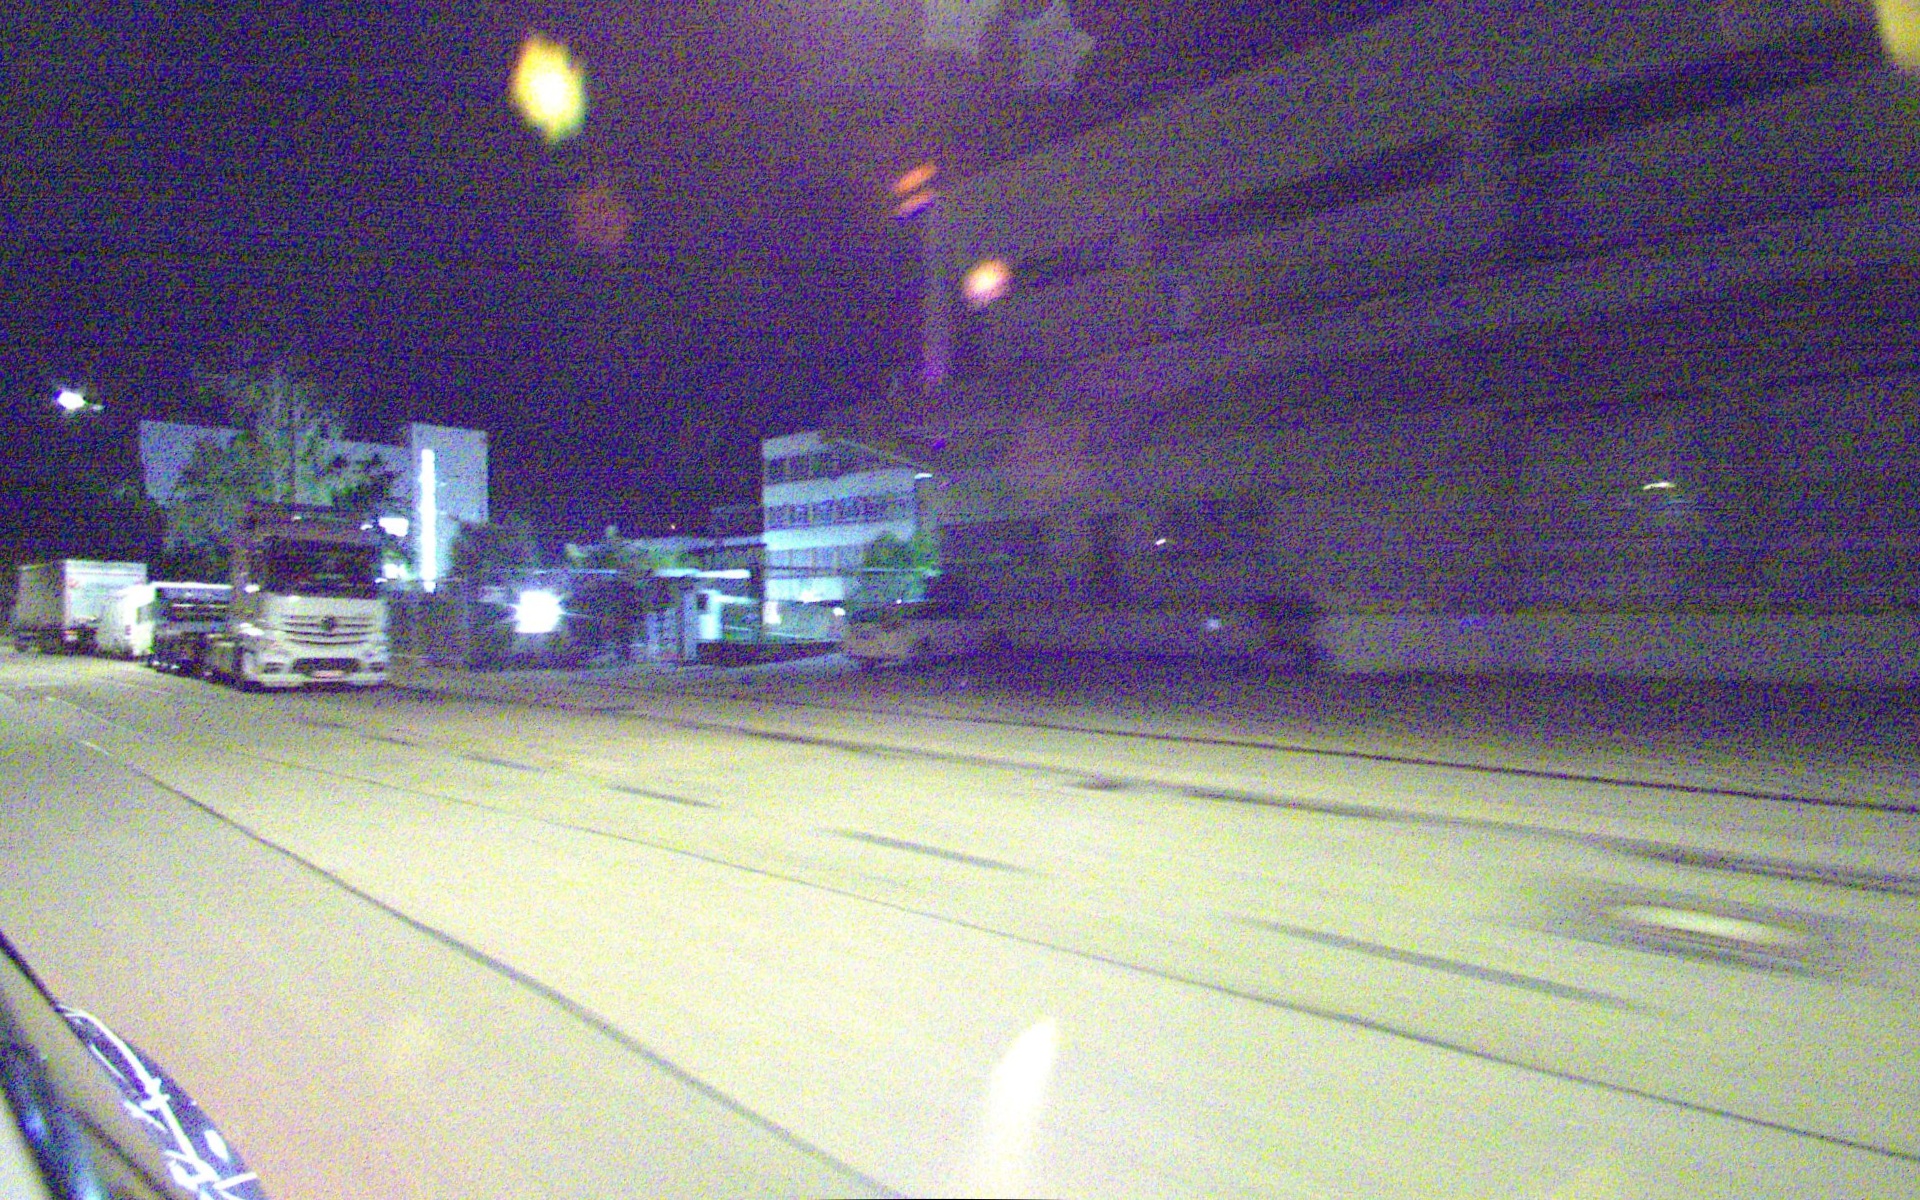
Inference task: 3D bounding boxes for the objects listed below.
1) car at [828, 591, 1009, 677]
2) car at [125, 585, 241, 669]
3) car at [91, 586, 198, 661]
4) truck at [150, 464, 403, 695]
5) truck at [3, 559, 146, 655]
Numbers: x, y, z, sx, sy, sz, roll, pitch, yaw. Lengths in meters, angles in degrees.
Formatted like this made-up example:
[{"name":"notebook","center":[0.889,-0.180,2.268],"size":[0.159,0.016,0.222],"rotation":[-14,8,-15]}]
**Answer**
[{"name":"car","center":[-0.829,0.678,22.448],"size":[1.804,1.474,3.949],"rotation":[-1,4,39]},{"name":"car","center":[-23.539,0.753,30.602],"size":[4.469,2.330,2.116],"rotation":[-1,1,44]},{"name":"car","center":[-29.085,0.798,36.014],"size":[5.741,2.461,1.973],"rotation":[-1,1,41]},{"name":"truck","center":[-17.019,-0.395,24.537],"size":[2.608,4.347,12.831],"rotation":[2,-1,-45]},{"name":"truck","center":[-37.935,0.296,43.184],"size":[10.389,3.659,2.794],"rotation":[-1,1,39]}]
